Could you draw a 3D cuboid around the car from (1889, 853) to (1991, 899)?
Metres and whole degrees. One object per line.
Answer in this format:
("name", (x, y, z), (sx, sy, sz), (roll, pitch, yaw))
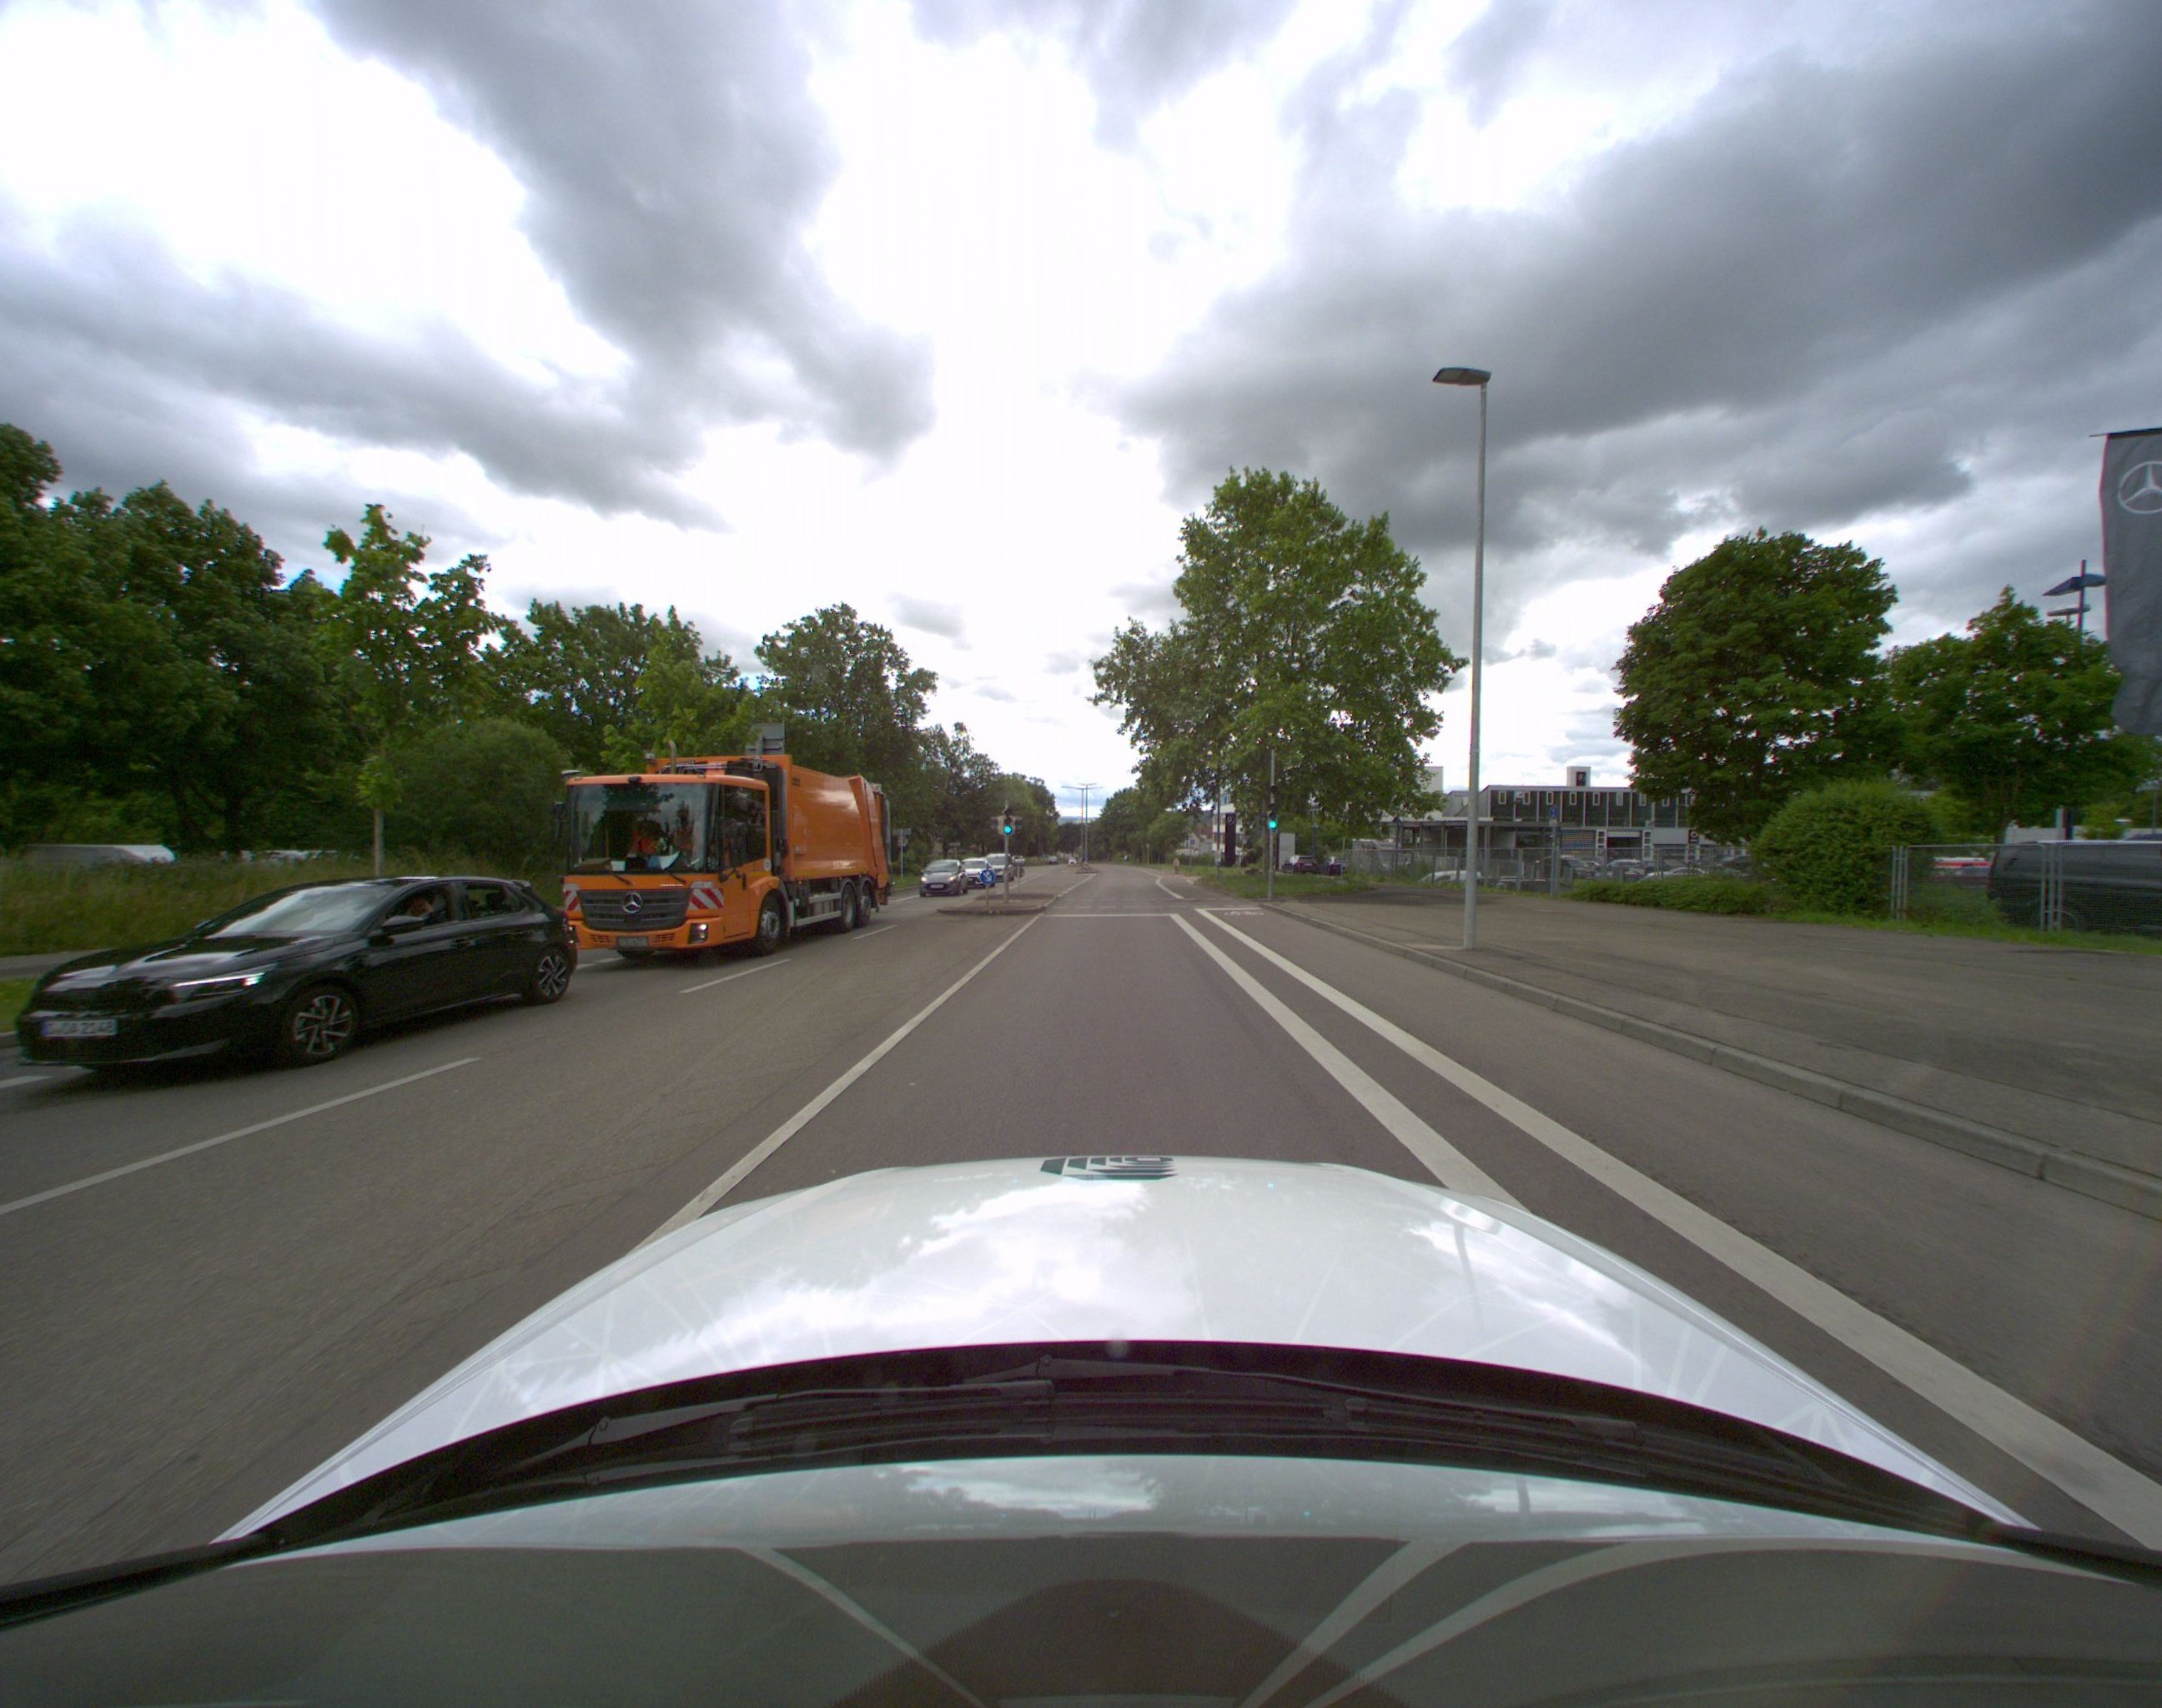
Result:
("car", (49.924, 1.255, 47.379), (4.086, 2.568, 1.735), (0, 0, 1))

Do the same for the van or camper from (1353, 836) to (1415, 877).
("van or camper", (22.279, 0.159, 60.186), (1.959, 2.868, 6.917), (0, 0, 0))

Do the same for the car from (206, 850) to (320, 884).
("car", (-50.514, 0.763, 50.364), (4.952, 2.013, 1.999), (0, 0, -2))

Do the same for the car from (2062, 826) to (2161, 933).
("car", (24.721, 0.553, 17.515), (2.006, 2.326, 4.384), (0, 0, -31))

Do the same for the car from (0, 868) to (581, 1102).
("car", (-6.476, 0.906, 7.369), (1.429, 1.457, 3.895), (0, 0, 1))

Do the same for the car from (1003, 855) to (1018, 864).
("car", (-10.700, 0.834, 124.131), (1.665, 1.304, 4.003), (0, 0, 3))

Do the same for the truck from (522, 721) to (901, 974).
("truck", (-6.216, -0.116, 16.258), (2.695, 3.487, 9.999), (0, 0, 2))

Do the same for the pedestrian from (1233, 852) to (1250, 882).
("pedestrian", (9.707, 0.769, 49.270), (0.739, 1.801, 0.867), (0, 0, 36))

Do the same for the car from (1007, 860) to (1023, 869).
("car", (-10.457, 1.645, 129.049), (1.663, 1.304, 4.008), (0, 0, 8))

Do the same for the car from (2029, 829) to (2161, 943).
("car", (20.524, 0.578, 14.351), (2.007, 2.025, 4.749), (0, 0, -32))

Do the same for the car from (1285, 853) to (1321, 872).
("car", (16.699, 0.635, 61.440), (1.704, 1.354, 4.346), (0, 0, 2))

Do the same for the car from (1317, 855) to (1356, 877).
("car", (19.312, 0.885, 61.647), (1.704, 1.508, 4.346), (2, 0, 2))

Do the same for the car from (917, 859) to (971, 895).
("car", (-5.645, 0.910, 33.928), (1.542, 1.331, 3.654), (-2, 0, 1))

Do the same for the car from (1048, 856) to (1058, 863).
("car", (-5.787, 1.135, 168.138), (1.765, 1.304, 4.001), (0, 0, 1))

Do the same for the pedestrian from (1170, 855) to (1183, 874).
("pedestrian", (7.393, 0.847, 63.294), (0.791, 1.463, 0.744), (0, 0, -17))

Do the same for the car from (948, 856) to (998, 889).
("car", (-5.478, 0.917, 41.899), (1.840, 1.520, 4.815), (-2, 0, 0))

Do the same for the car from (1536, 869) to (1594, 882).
("car", (37.177, 1.644, 62.546), (3.627, 0.978, 1.413), (0, 0, 0))

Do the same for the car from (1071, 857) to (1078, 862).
("car", (-1.655, 1.349, 202.440), (1.606, 1.304, 4.001), (0, 0, 1))

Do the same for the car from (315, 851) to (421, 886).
("car", (-46.382, 0.897, 53.072), (4.955, 2.190, 1.998), (0, 0, -3))

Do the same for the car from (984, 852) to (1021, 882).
("car", (-4.962, 0.785, 52.106), (1.840, 1.803, 4.650), (-2, 0, 0))

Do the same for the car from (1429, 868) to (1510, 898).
("car", (21.387, 1.593, 44.879), (3.725, 1.618, 1.689), (0, 0, -4))
